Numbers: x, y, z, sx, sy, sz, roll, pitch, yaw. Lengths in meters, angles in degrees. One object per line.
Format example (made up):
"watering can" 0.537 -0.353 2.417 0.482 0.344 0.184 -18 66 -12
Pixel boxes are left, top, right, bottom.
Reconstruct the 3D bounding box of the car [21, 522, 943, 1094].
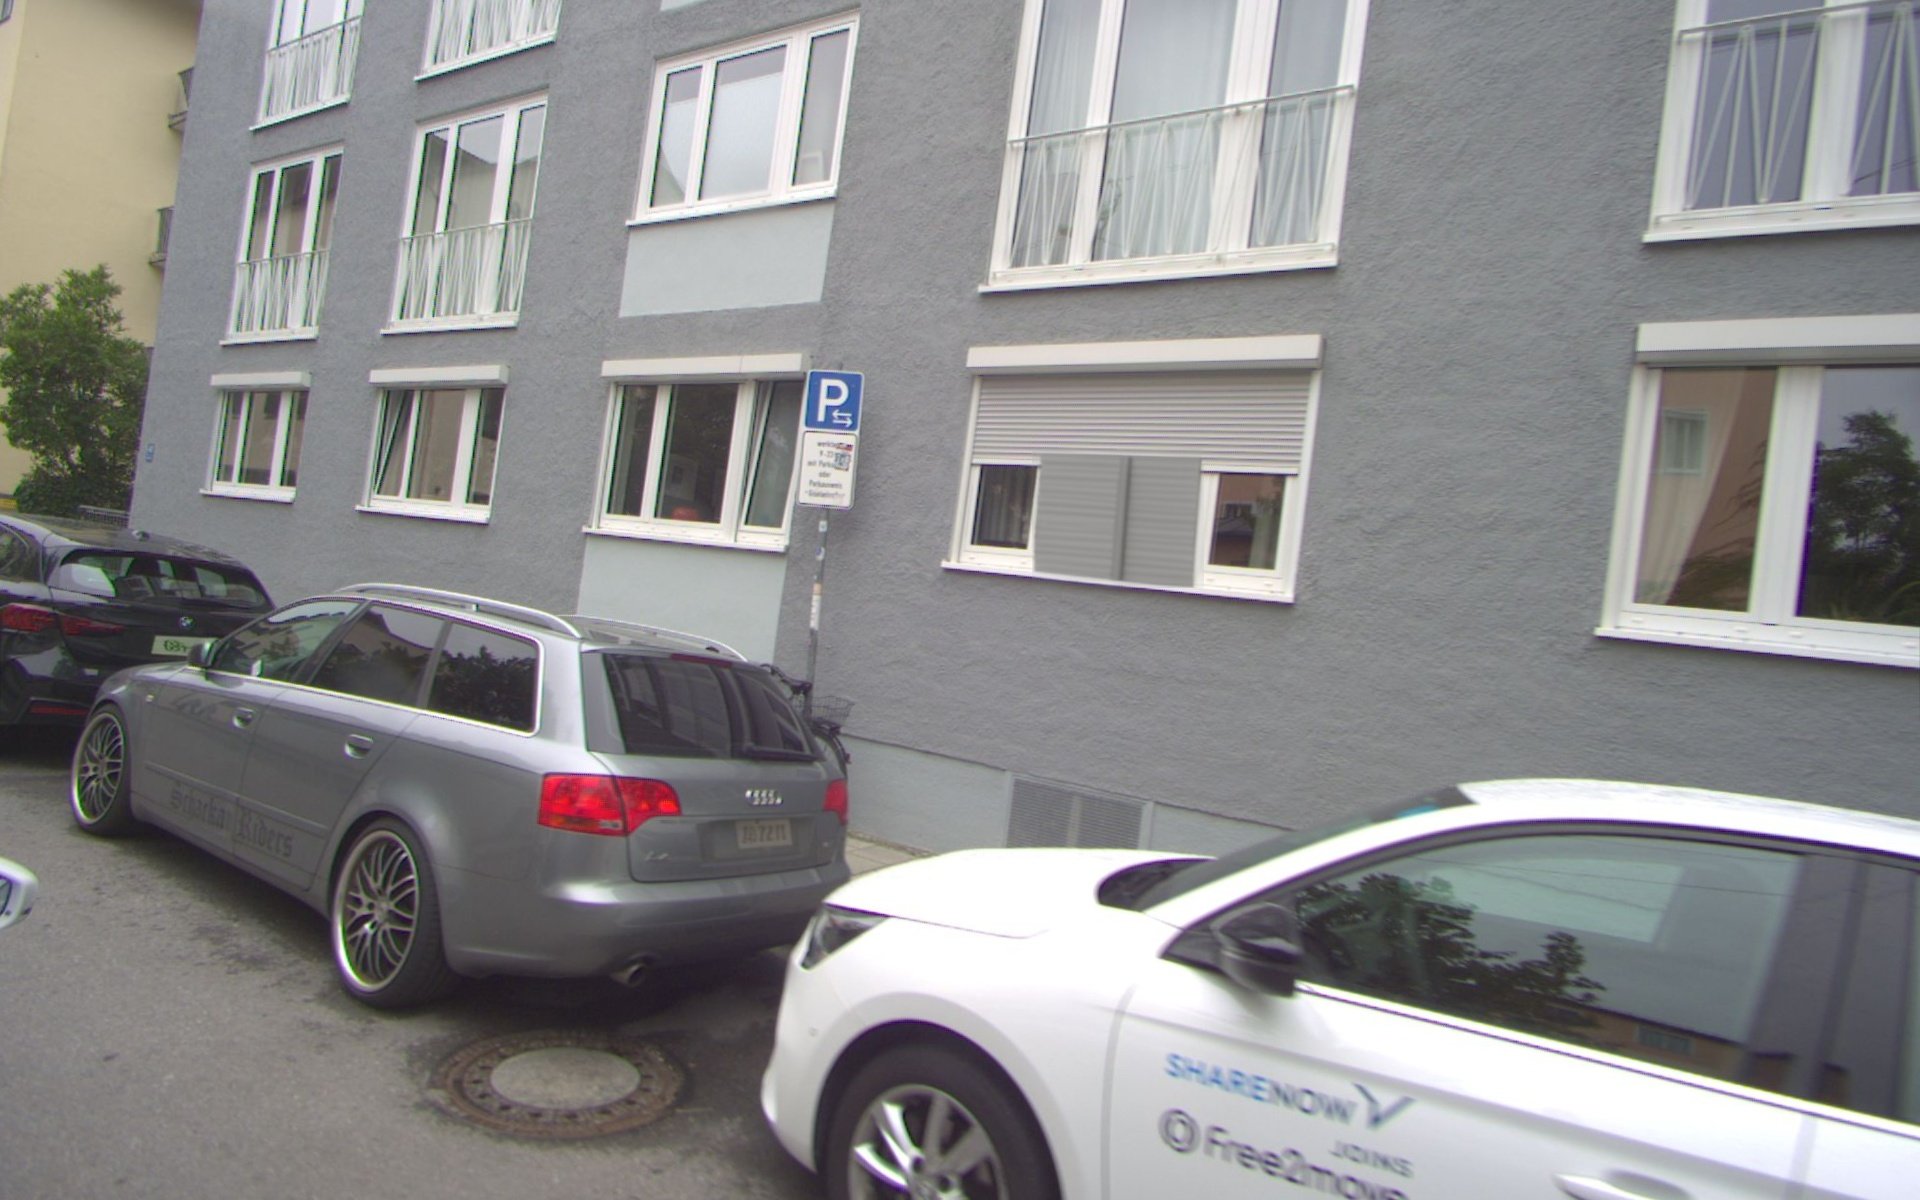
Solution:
"car" -2.489 0.641 4.854 4.412 1.415 1.796 7 -5 33

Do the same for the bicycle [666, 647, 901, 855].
"bicycle" -1.253 0.992 6.968 1.658 1.123 0.377 7 0 32

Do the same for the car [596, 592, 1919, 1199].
"car" 1.368 1.044 2.353 4.273 1.460 1.775 7 -5 33

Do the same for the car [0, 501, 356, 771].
"car" -6.592 0.115 7.256 4.191 1.443 1.848 7 -5 30
